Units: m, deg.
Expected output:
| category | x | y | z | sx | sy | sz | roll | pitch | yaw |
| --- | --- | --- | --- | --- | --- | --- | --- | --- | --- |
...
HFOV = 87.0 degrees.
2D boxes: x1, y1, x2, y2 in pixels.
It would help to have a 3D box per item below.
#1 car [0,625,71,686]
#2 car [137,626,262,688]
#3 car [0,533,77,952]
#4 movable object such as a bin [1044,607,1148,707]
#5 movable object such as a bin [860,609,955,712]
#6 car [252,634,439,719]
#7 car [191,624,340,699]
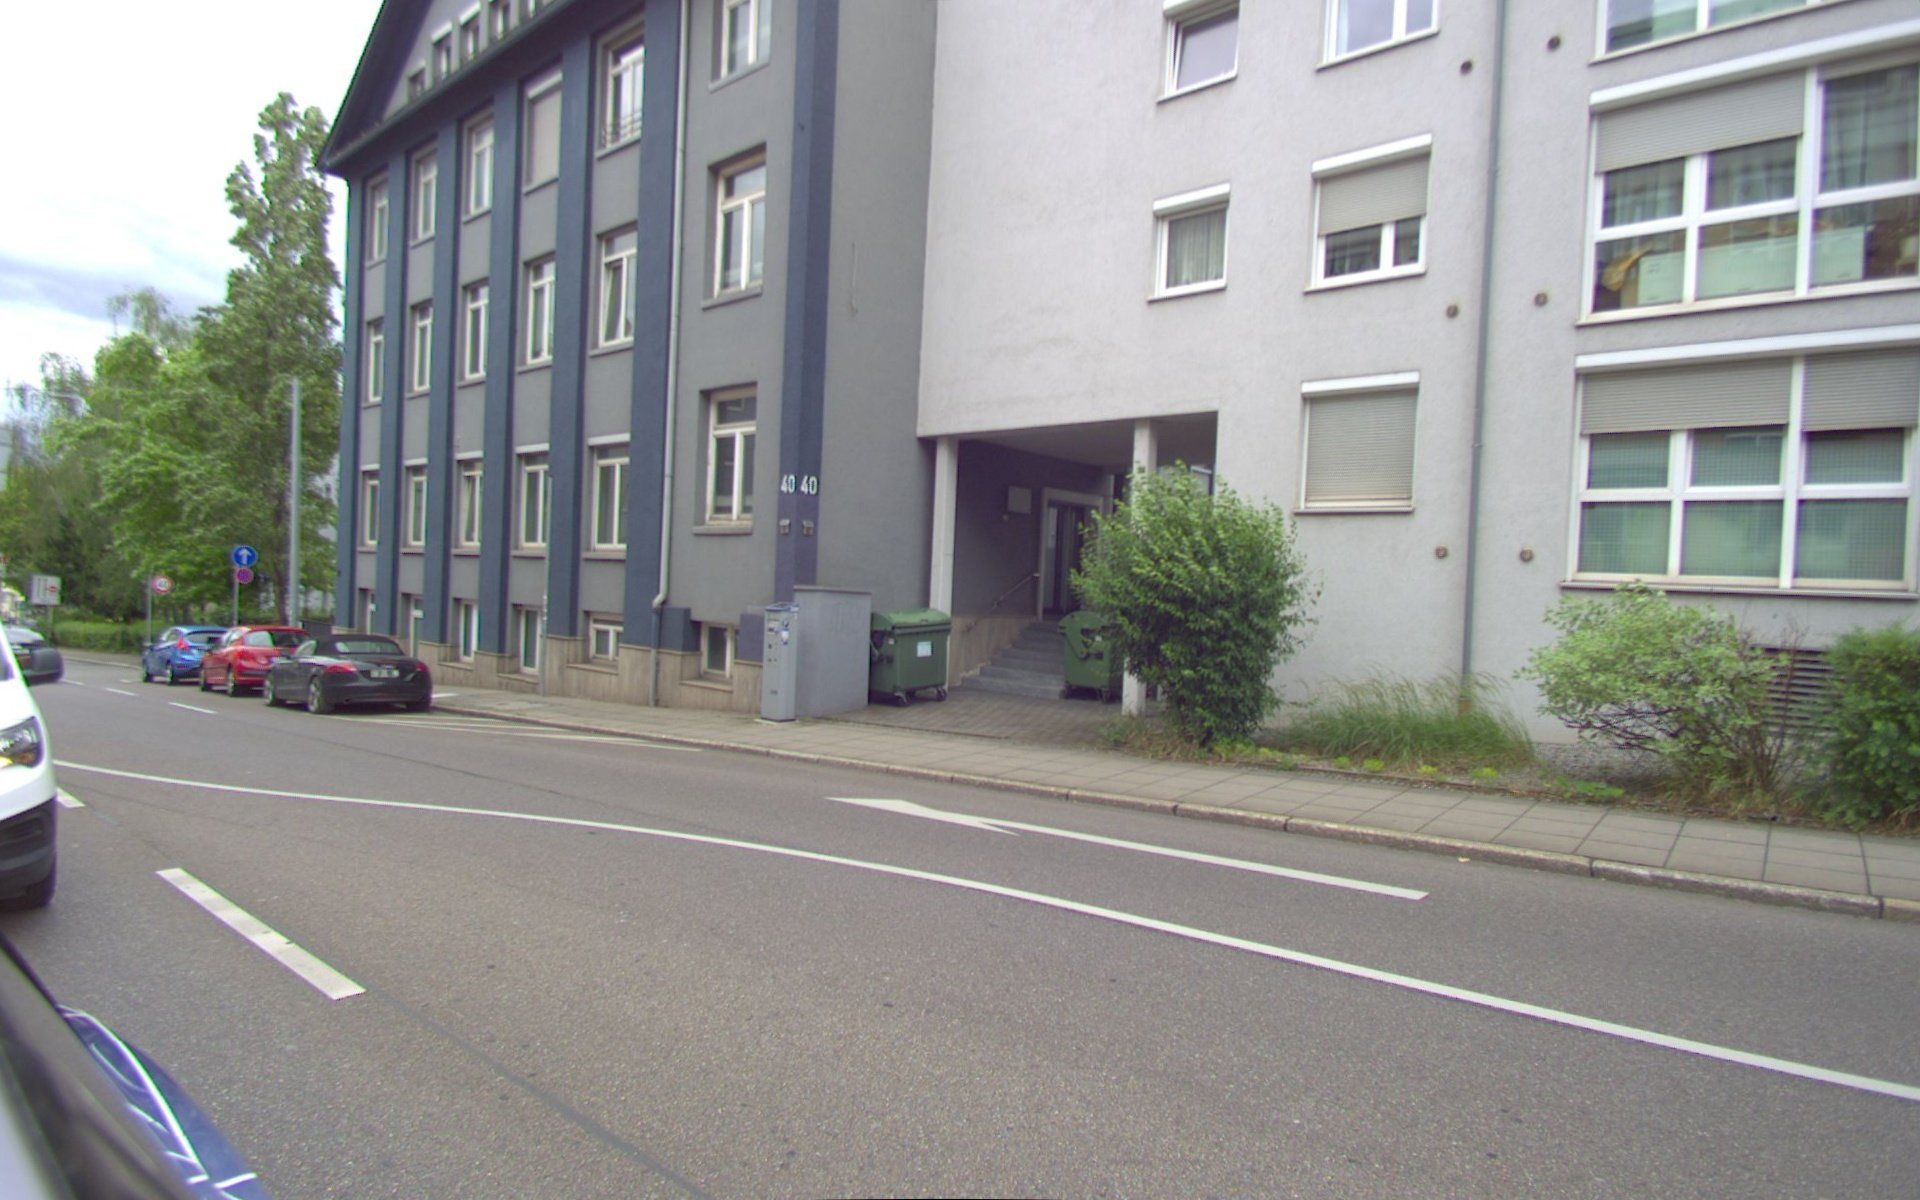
| category | x | y | z | sx | sy | sz | roll | pitch | yaw |
| --- | --- | --- | --- | --- | --- | --- | --- | --- | --- |
| car | -23.976 | 1.361 | 25.458 | 4.668 | 1.429 | 1.766 | -1 | -4 | 41 |
| car | -19.350 | 1.413 | 25.703 | 3.724 | 1.465 | 1.702 | -1 | -3 | 40 |
| car | -6.455 | 0.666 | 5.547 | 4.937 | 1.821 | 1.816 | -1 | 0 | 42 |
| movable object such as a bin | 2.239 | 0.903 | 16.628 | 1.190 | 1.489 | 1.132 | 5 | 2 | 41 |
| movable object such as a bin | -0.807 | 0.903 | 15.689 | 0.784 | 1.467 | 1.251 | 0 | 1 | 44 |
| car | -11.050 | 1.314 | 18.095 | 4.040 | 1.337 | 1.701 | -1 | -4 | 42 |
| car | -15.222 | 1.314 | 22.125 | 3.868 | 1.485 | 1.795 | -2 | -4 | 43 |
